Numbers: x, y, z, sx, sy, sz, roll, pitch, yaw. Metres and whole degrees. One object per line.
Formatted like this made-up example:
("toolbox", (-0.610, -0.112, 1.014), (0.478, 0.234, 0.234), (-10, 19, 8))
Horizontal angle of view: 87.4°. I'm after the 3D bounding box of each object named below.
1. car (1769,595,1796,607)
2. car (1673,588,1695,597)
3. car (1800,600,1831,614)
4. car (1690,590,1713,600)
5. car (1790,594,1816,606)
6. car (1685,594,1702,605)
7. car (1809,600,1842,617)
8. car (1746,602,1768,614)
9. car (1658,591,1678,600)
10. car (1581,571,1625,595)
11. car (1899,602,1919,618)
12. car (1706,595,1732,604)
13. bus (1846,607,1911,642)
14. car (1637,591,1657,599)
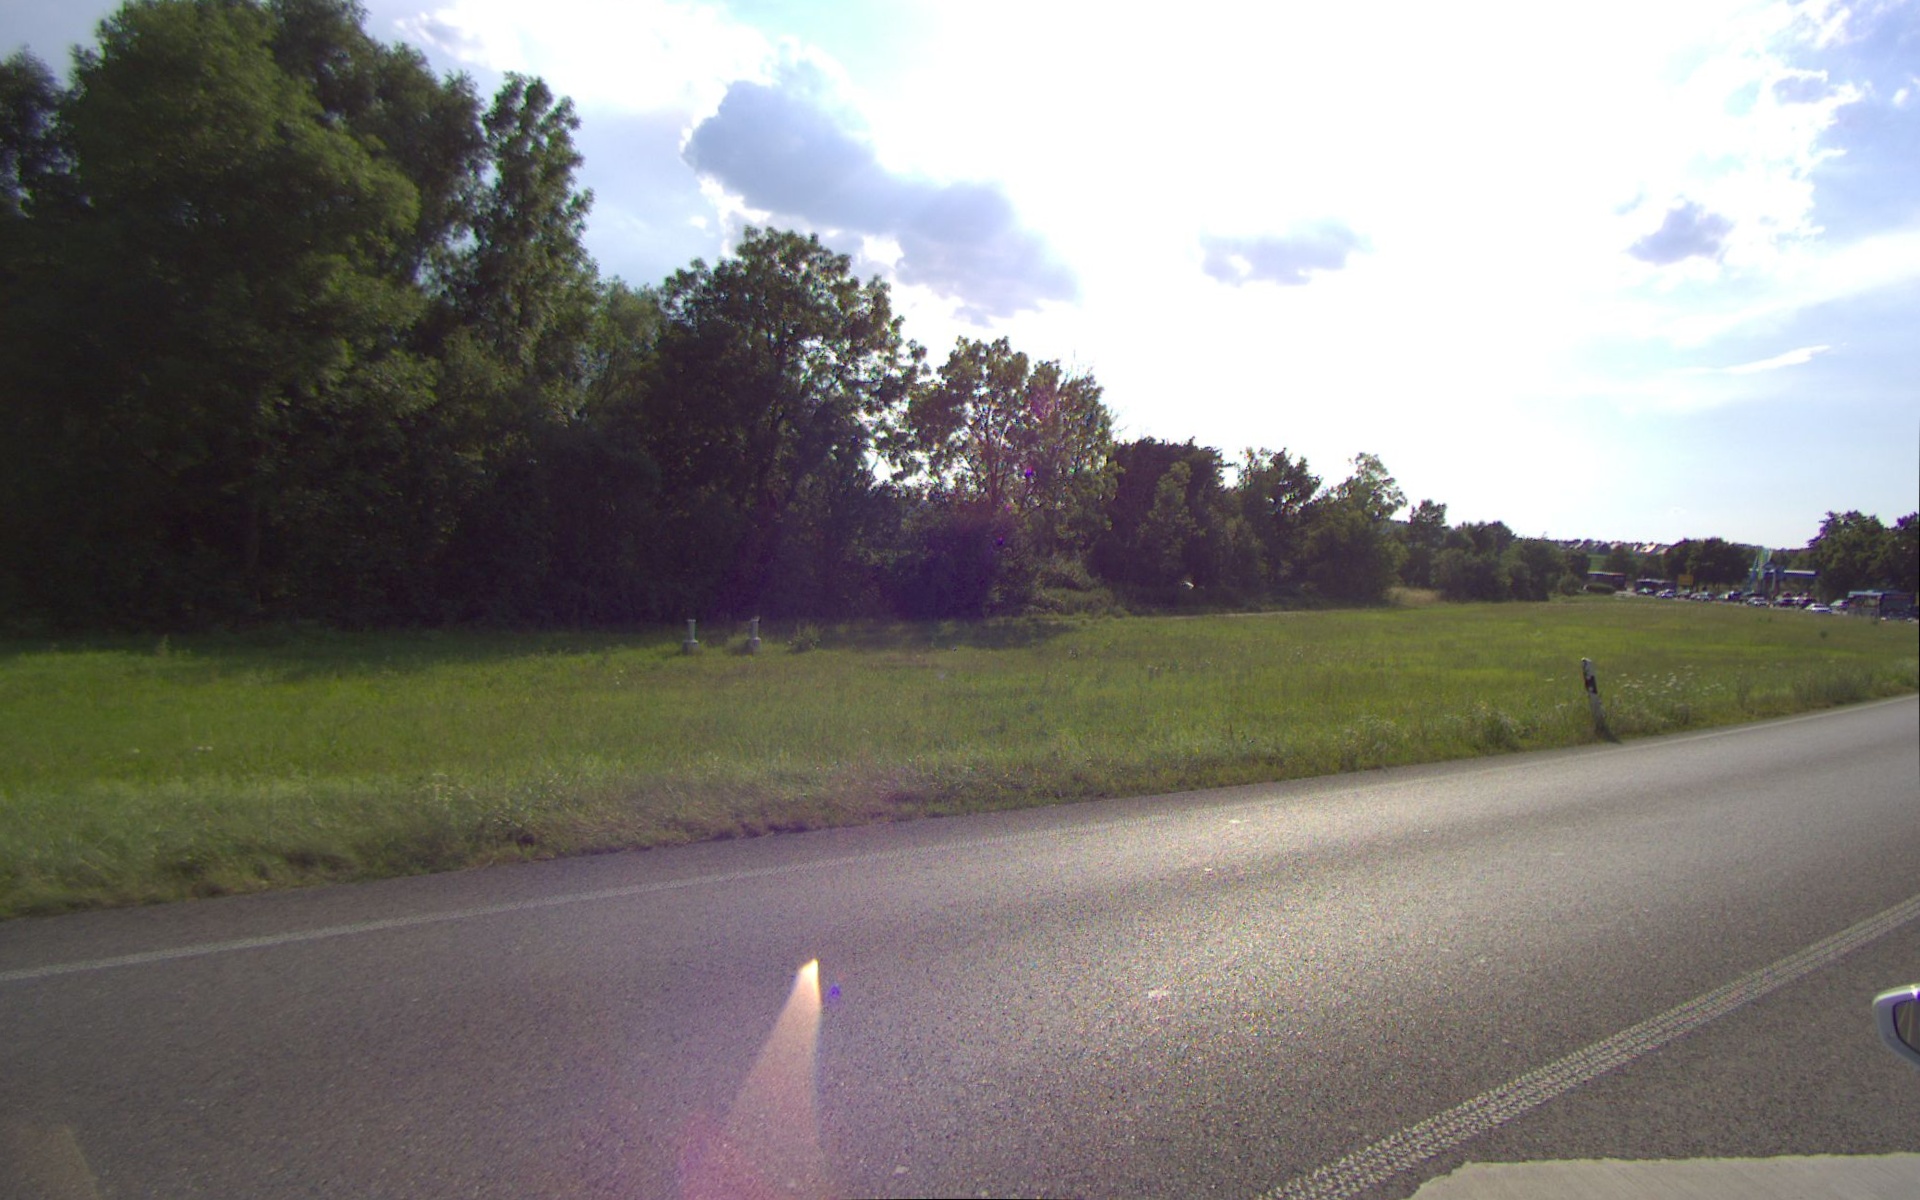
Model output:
("car", (126.383, 0.134, 154.382), (2.051, 1.621, 3.998), (2, 1, 22))
("car", (136.281, -1.506, 189.111), (1.850, 1.621, 4.002), (2, 1, 13))
("car", (105.512, 0.844, 123.915), (1.812, 1.678, 3.997), (2, 0, 24))
("car", (134.752, -0.944, 182.599), (1.850, 1.621, 4.002), (2, 1, 13))
("car", (123.011, 0.003, 146.645), (2.053, 1.621, 3.994), (2, 1, 27))
("car", (123.619, -0.046, 169.281), (1.814, 1.678, 3.993), (2, 0, 29))
("car", (93.611, 0.907, 108.663), (1.814, 1.678, 3.993), (2, 0, 29))
("car", (116.841, 1.233, 147.325), (1.814, 1.678, 3.993), (2, 0, 29))
("car", (138.619, -0.899, 196.665), (1.850, 1.621, 4.001), (2, 1, 14))
("car", (141.841, -3.747, 221.786), (3.480, 5.127, 13.249), (2, 1, 11))
("car", (109.790, 1.183, 116.021), (1.500, 1.678, 3.858), (2, 0, 36))
("car", (132.734, -0.099, 175.750), (2.049, 1.621, 4.002), (2, 1, 13))
("bus", (94.126, 2.485, 103.101), (2.755, 3.224, 12.095), (2, 0, 33))
("car", (139.249, -1.011, 203.612), (1.849, 1.621, 4.002), (2, 1, 11))
